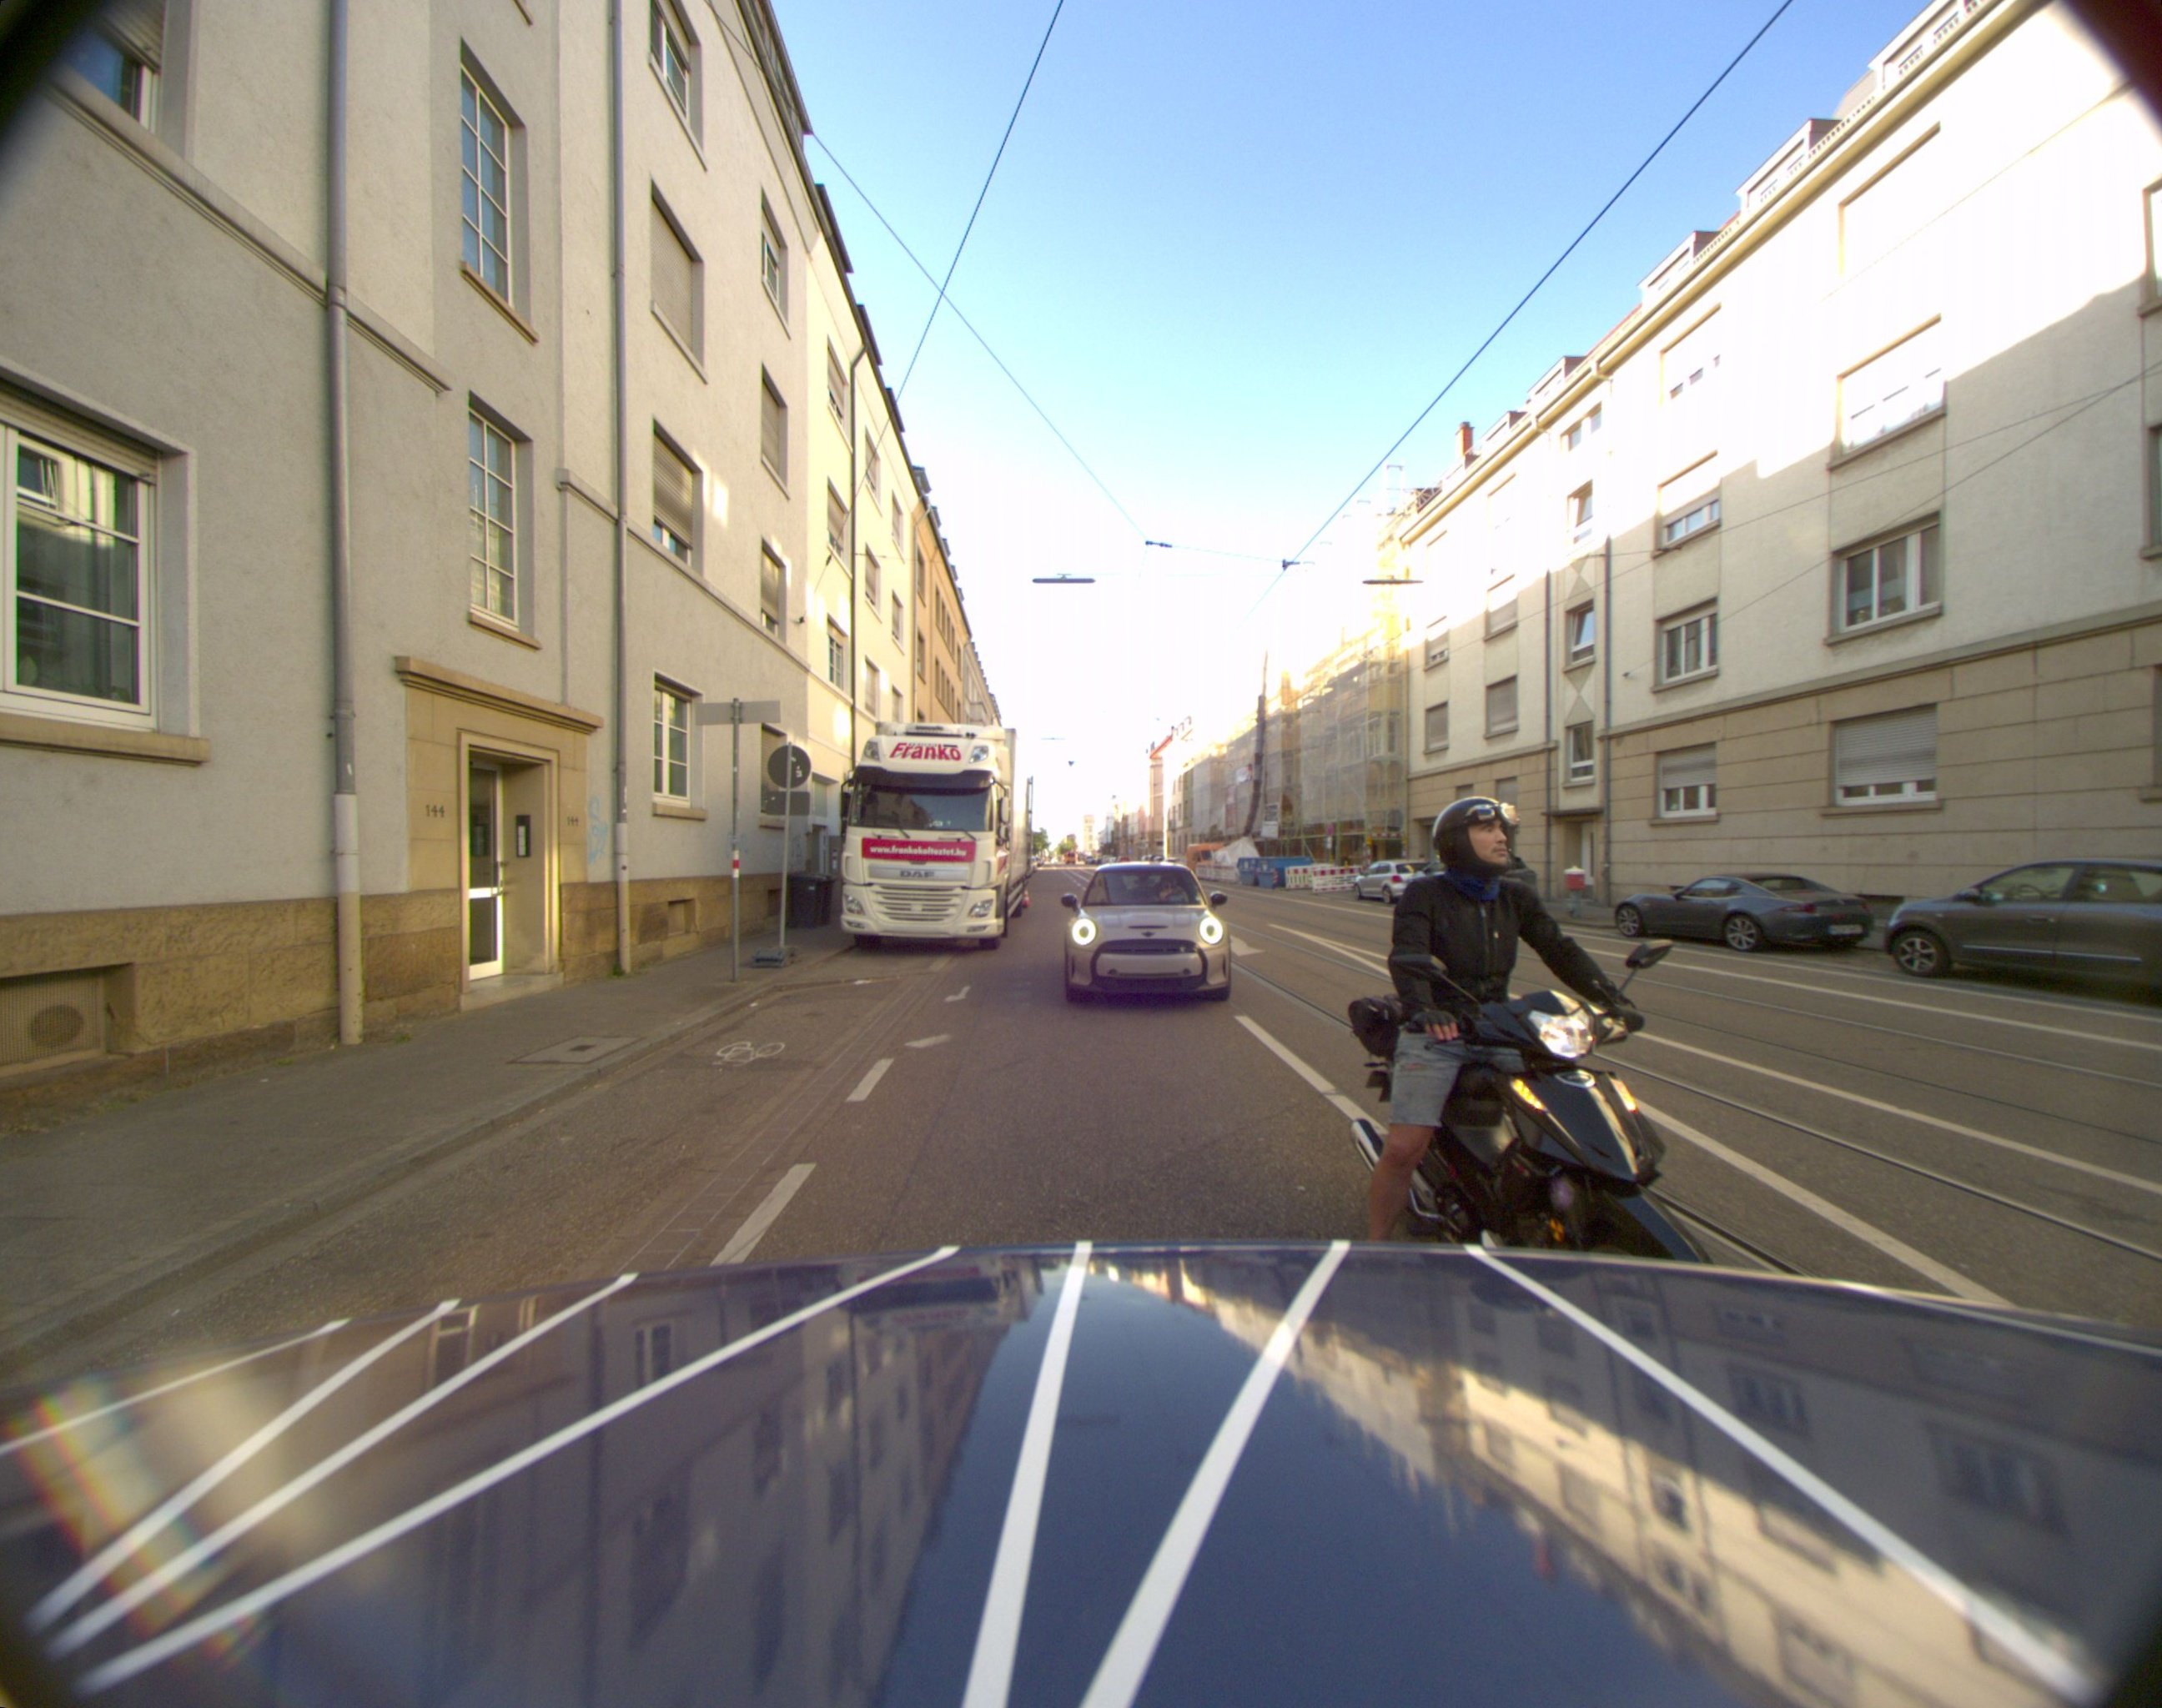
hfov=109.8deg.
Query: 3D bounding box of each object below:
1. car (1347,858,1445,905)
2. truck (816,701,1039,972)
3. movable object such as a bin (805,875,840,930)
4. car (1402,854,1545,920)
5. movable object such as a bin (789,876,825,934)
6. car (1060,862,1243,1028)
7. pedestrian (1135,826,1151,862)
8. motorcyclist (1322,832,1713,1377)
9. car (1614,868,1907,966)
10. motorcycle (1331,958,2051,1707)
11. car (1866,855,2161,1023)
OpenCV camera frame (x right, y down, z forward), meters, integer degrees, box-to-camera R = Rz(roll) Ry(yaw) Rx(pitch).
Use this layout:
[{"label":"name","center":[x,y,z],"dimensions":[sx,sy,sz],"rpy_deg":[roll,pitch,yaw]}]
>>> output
[{"label":"car","center":[10.625,0.868,25.912],"dimensions":[1.637,1.383,3.643],"rpy_deg":[-2,1,-3]},{"label":"truck","center":[-2.597,-0.253,17.187],"dimensions":[2.899,3.939,11.704],"rpy_deg":[-2,0,-2]},{"label":"movable object such as a bin","center":[-5.312,0.994,15.634],"dimensions":[0.512,1.085,0.495],"rpy_deg":[-2,1,-4]},{"label":"car","center":[10.818,0.830,21.305],"dimensions":[1.712,1.582,4.112],"rpy_deg":[-2,1,-3]},{"label":"movable object such as a bin","center":[-5.400,0.999,14.991],"dimensions":[0.512,1.085,0.495],"rpy_deg":[-2,1,-4]},{"label":"car","center":[0.652,0.865,9.054],"dimensions":[1.692,1.495,4.000],"rpy_deg":[0,0,0]},{"label":"pedestrian","center":[7.668,-1.287,94.357],"dimensions":[1.723,4.377,1.153],"rpy_deg":[-2,1,2]},{"label":"motorcyclist","center":[1.311,0.700,2.412],"dimensions":[0.862,1.496,0.598],"rpy_deg":[-2,1,1]},{"label":"car","center":[11.257,0.962,12.942],"dimensions":[1.751,1.269,3.488],"rpy_deg":[-2,1,-4]},{"label":"motorcycle","center":[1.342,1.066,2.246],"dimensions":[0.538,1.212,1.981],"rpy_deg":[-2,1,1]},{"label":"car","center":[11.370,0.839,8.407],"dimensions":[1.670,1.563,3.496],"rpy_deg":[-2,1,-2]}]
